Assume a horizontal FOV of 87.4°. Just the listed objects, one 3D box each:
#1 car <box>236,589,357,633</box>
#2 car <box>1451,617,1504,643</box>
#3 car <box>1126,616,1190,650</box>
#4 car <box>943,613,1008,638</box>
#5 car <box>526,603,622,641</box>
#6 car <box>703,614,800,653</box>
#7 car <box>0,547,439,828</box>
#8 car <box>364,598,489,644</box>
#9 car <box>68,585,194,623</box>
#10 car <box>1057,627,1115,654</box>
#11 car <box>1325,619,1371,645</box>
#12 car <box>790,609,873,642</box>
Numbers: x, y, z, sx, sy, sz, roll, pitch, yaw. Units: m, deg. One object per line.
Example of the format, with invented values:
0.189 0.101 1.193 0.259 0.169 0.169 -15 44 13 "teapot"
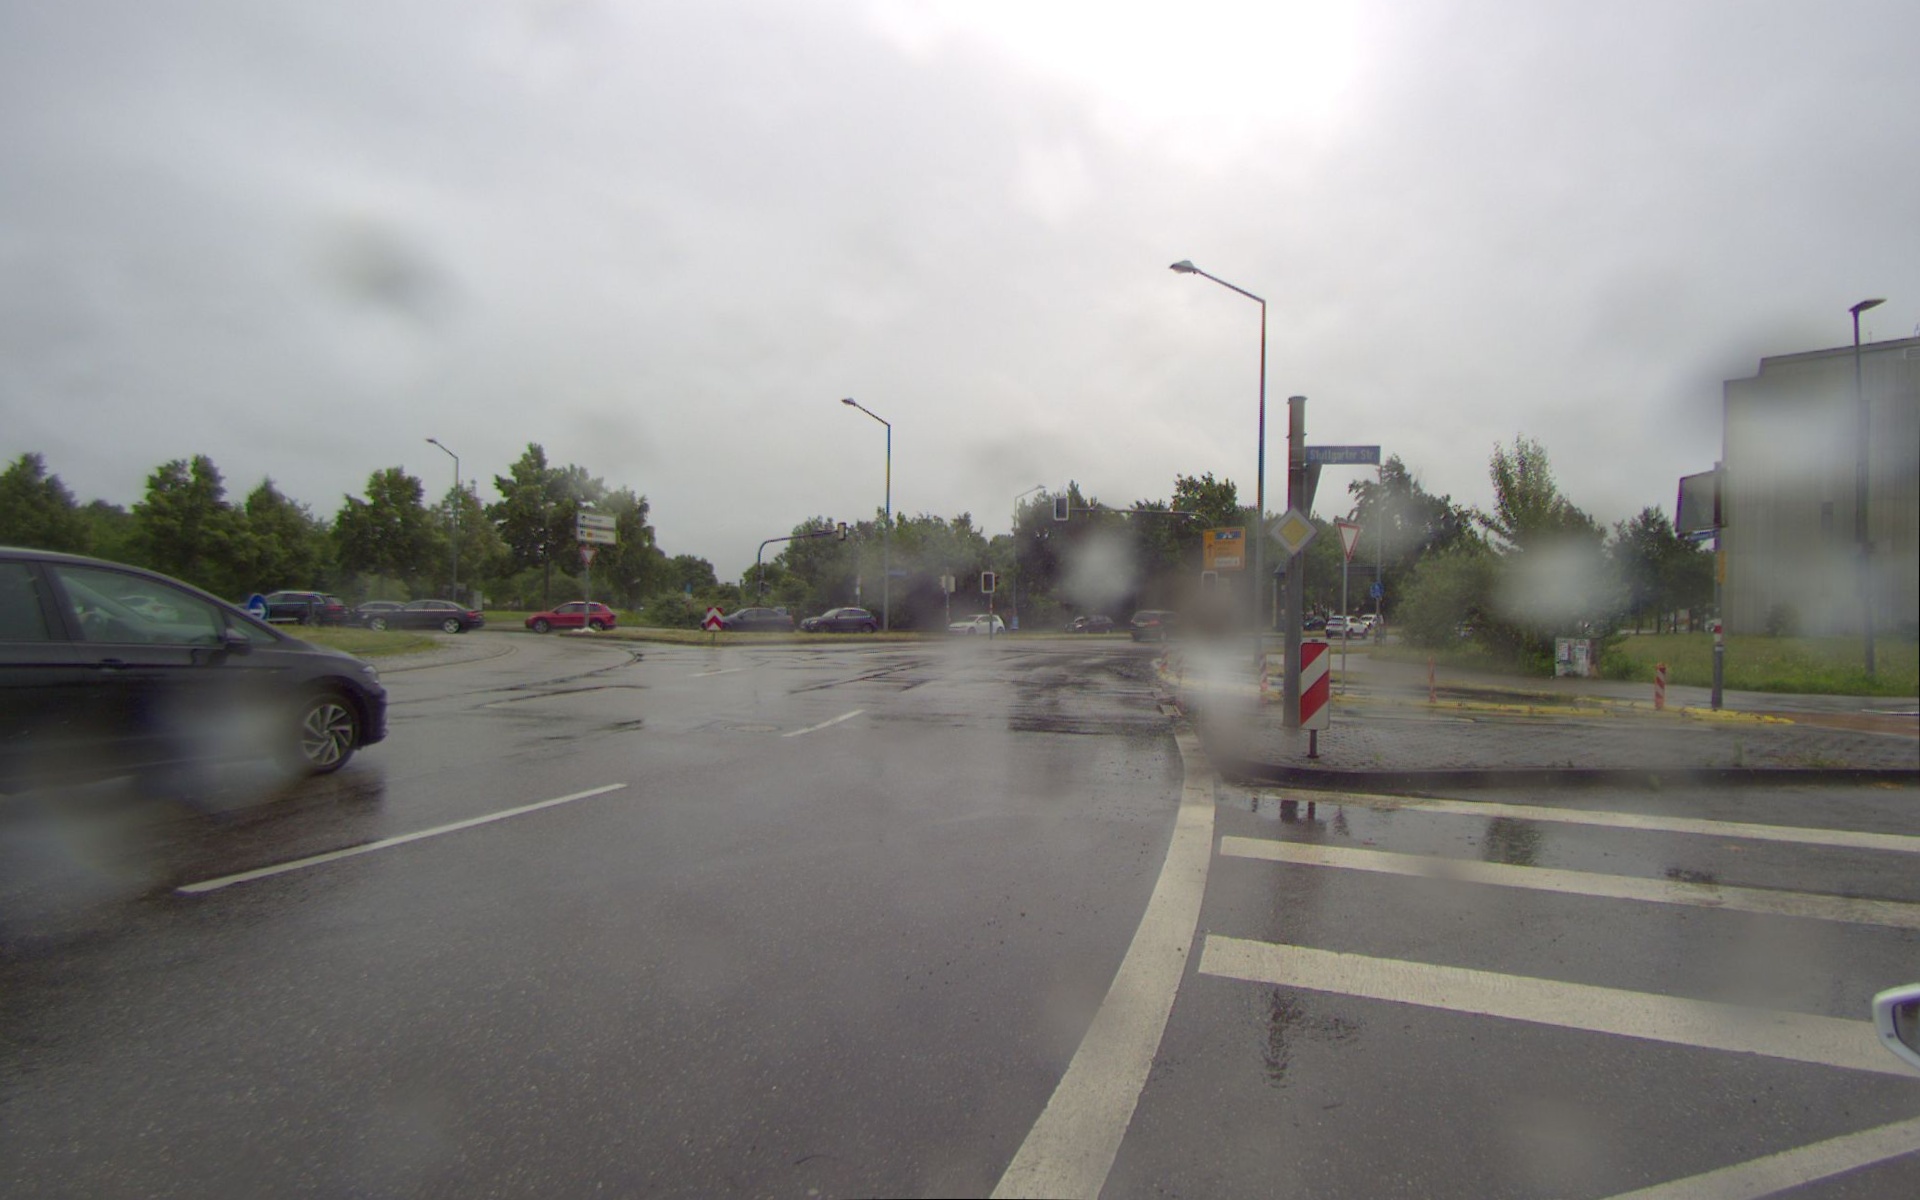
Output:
-29.806 0.493 45.245 4.074 1.669 1.786 4 0 -10 "car"
37.865 2.201 73.433 4.799 1.835 1.768 2 -1 -41 "car"
10.808 1.811 54.558 1.761 1.669 3.985 3 -1 37 "car"
1.032 1.649 63.925 1.610 1.394 4.224 3 -1 44 "car"
-19.844 1.136 51.814 4.321 1.669 1.784 4 0 -15 "car"
-10.428 1.696 50.370 4.350 1.669 1.772 4 -1 -35 "car"
-5.818 0.453 6.411 1.754 1.538 4.331 2 0 21 "car"
-22.569 0.885 42.685 4.325 1.669 1.782 4 0 -18 "car"
-39.637 0.189 48.108 4.312 1.669 1.787 2 0 -7 "car"
9.063 2.895 72.039 3.962 1.669 1.771 4 -1 -36 "car"
27.653 2.280 71.526 1.663 1.669 3.924 3 -1 44 "car"
-7.307 1.456 57.204 4.347 1.669 1.771 4 -1 -36 "car"
